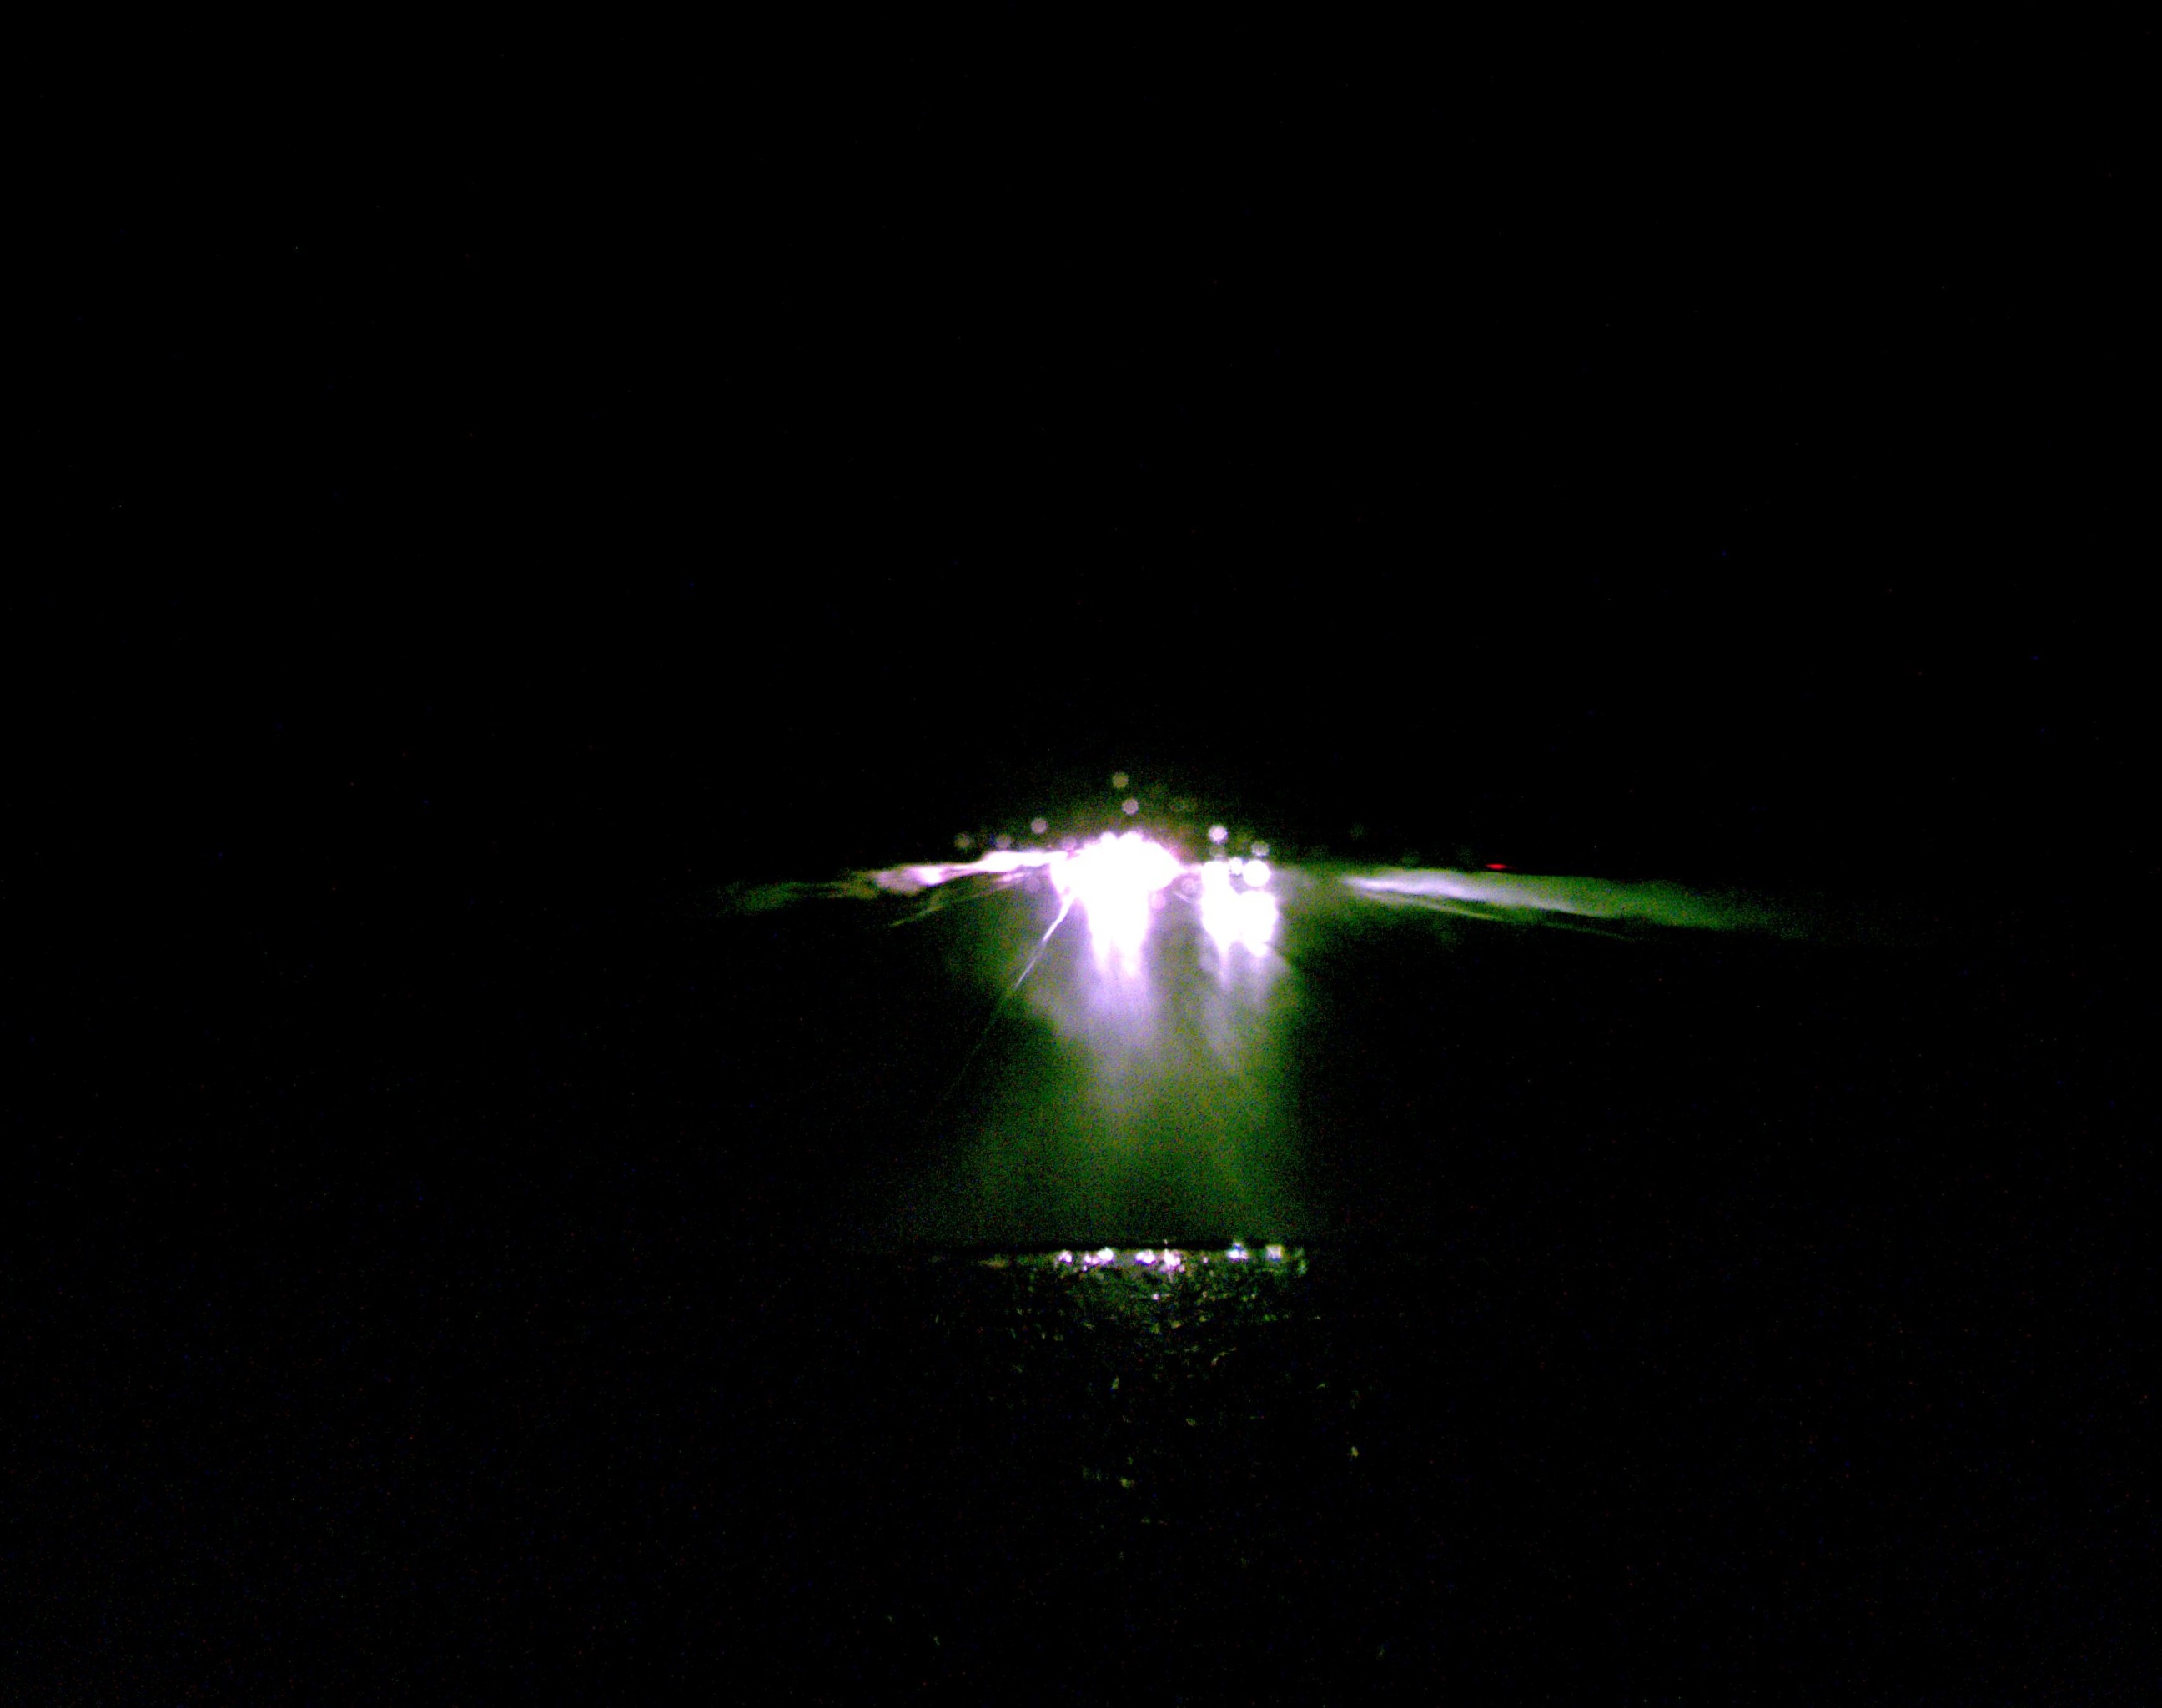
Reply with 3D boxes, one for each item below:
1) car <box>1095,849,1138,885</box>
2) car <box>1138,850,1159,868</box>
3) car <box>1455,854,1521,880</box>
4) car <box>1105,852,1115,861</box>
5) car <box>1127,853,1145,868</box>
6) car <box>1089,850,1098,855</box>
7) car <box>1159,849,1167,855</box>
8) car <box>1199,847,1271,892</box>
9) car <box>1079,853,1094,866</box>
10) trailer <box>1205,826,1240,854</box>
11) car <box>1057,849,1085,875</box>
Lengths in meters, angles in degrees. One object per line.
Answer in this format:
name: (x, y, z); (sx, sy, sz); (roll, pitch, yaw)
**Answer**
car: (1.889, 0.620, 39.403); (1.997, 1.667, 4.001); (1, 1, 6)
car: (6.813, 0.473, 77.161); (1.998, 1.667, 4.000); (1, 1, 3)
car: (26.530, 0.814, 49.682); (1.998, 1.477, 4.407); (-3, 0, 1)
car: (5.590, 0.504, 145.877); (1.998, 1.745, 4.000); (0, 1, 2)
car: (7.056, 0.839, 97.625); (1.998, 1.745, 3.999); (0, 1, 1)
car: (2.759, -0.363, 167.783); (1.998, 1.149, 3.999); (1, 1, 1)
car: (24.390, -0.491, 225.251); (1.838, 1.652, 3.999); (-1, 1, -1)
car: (5.925, 0.545, 29.671); (2.309, 1.600, 3.872); (1, 1, 5)
car: (0.774, 0.754, 103.209); (1.998, 1.745, 4.000); (0, 1, 2)
trailer: (25.362, -2.510, 137.042); (4.177, 4.598, 13.957); (1, 1, 2)
car: (-0.763, 0.618, 62.510); (1.998, 2.002, 4.000); (1, 1, 4)
